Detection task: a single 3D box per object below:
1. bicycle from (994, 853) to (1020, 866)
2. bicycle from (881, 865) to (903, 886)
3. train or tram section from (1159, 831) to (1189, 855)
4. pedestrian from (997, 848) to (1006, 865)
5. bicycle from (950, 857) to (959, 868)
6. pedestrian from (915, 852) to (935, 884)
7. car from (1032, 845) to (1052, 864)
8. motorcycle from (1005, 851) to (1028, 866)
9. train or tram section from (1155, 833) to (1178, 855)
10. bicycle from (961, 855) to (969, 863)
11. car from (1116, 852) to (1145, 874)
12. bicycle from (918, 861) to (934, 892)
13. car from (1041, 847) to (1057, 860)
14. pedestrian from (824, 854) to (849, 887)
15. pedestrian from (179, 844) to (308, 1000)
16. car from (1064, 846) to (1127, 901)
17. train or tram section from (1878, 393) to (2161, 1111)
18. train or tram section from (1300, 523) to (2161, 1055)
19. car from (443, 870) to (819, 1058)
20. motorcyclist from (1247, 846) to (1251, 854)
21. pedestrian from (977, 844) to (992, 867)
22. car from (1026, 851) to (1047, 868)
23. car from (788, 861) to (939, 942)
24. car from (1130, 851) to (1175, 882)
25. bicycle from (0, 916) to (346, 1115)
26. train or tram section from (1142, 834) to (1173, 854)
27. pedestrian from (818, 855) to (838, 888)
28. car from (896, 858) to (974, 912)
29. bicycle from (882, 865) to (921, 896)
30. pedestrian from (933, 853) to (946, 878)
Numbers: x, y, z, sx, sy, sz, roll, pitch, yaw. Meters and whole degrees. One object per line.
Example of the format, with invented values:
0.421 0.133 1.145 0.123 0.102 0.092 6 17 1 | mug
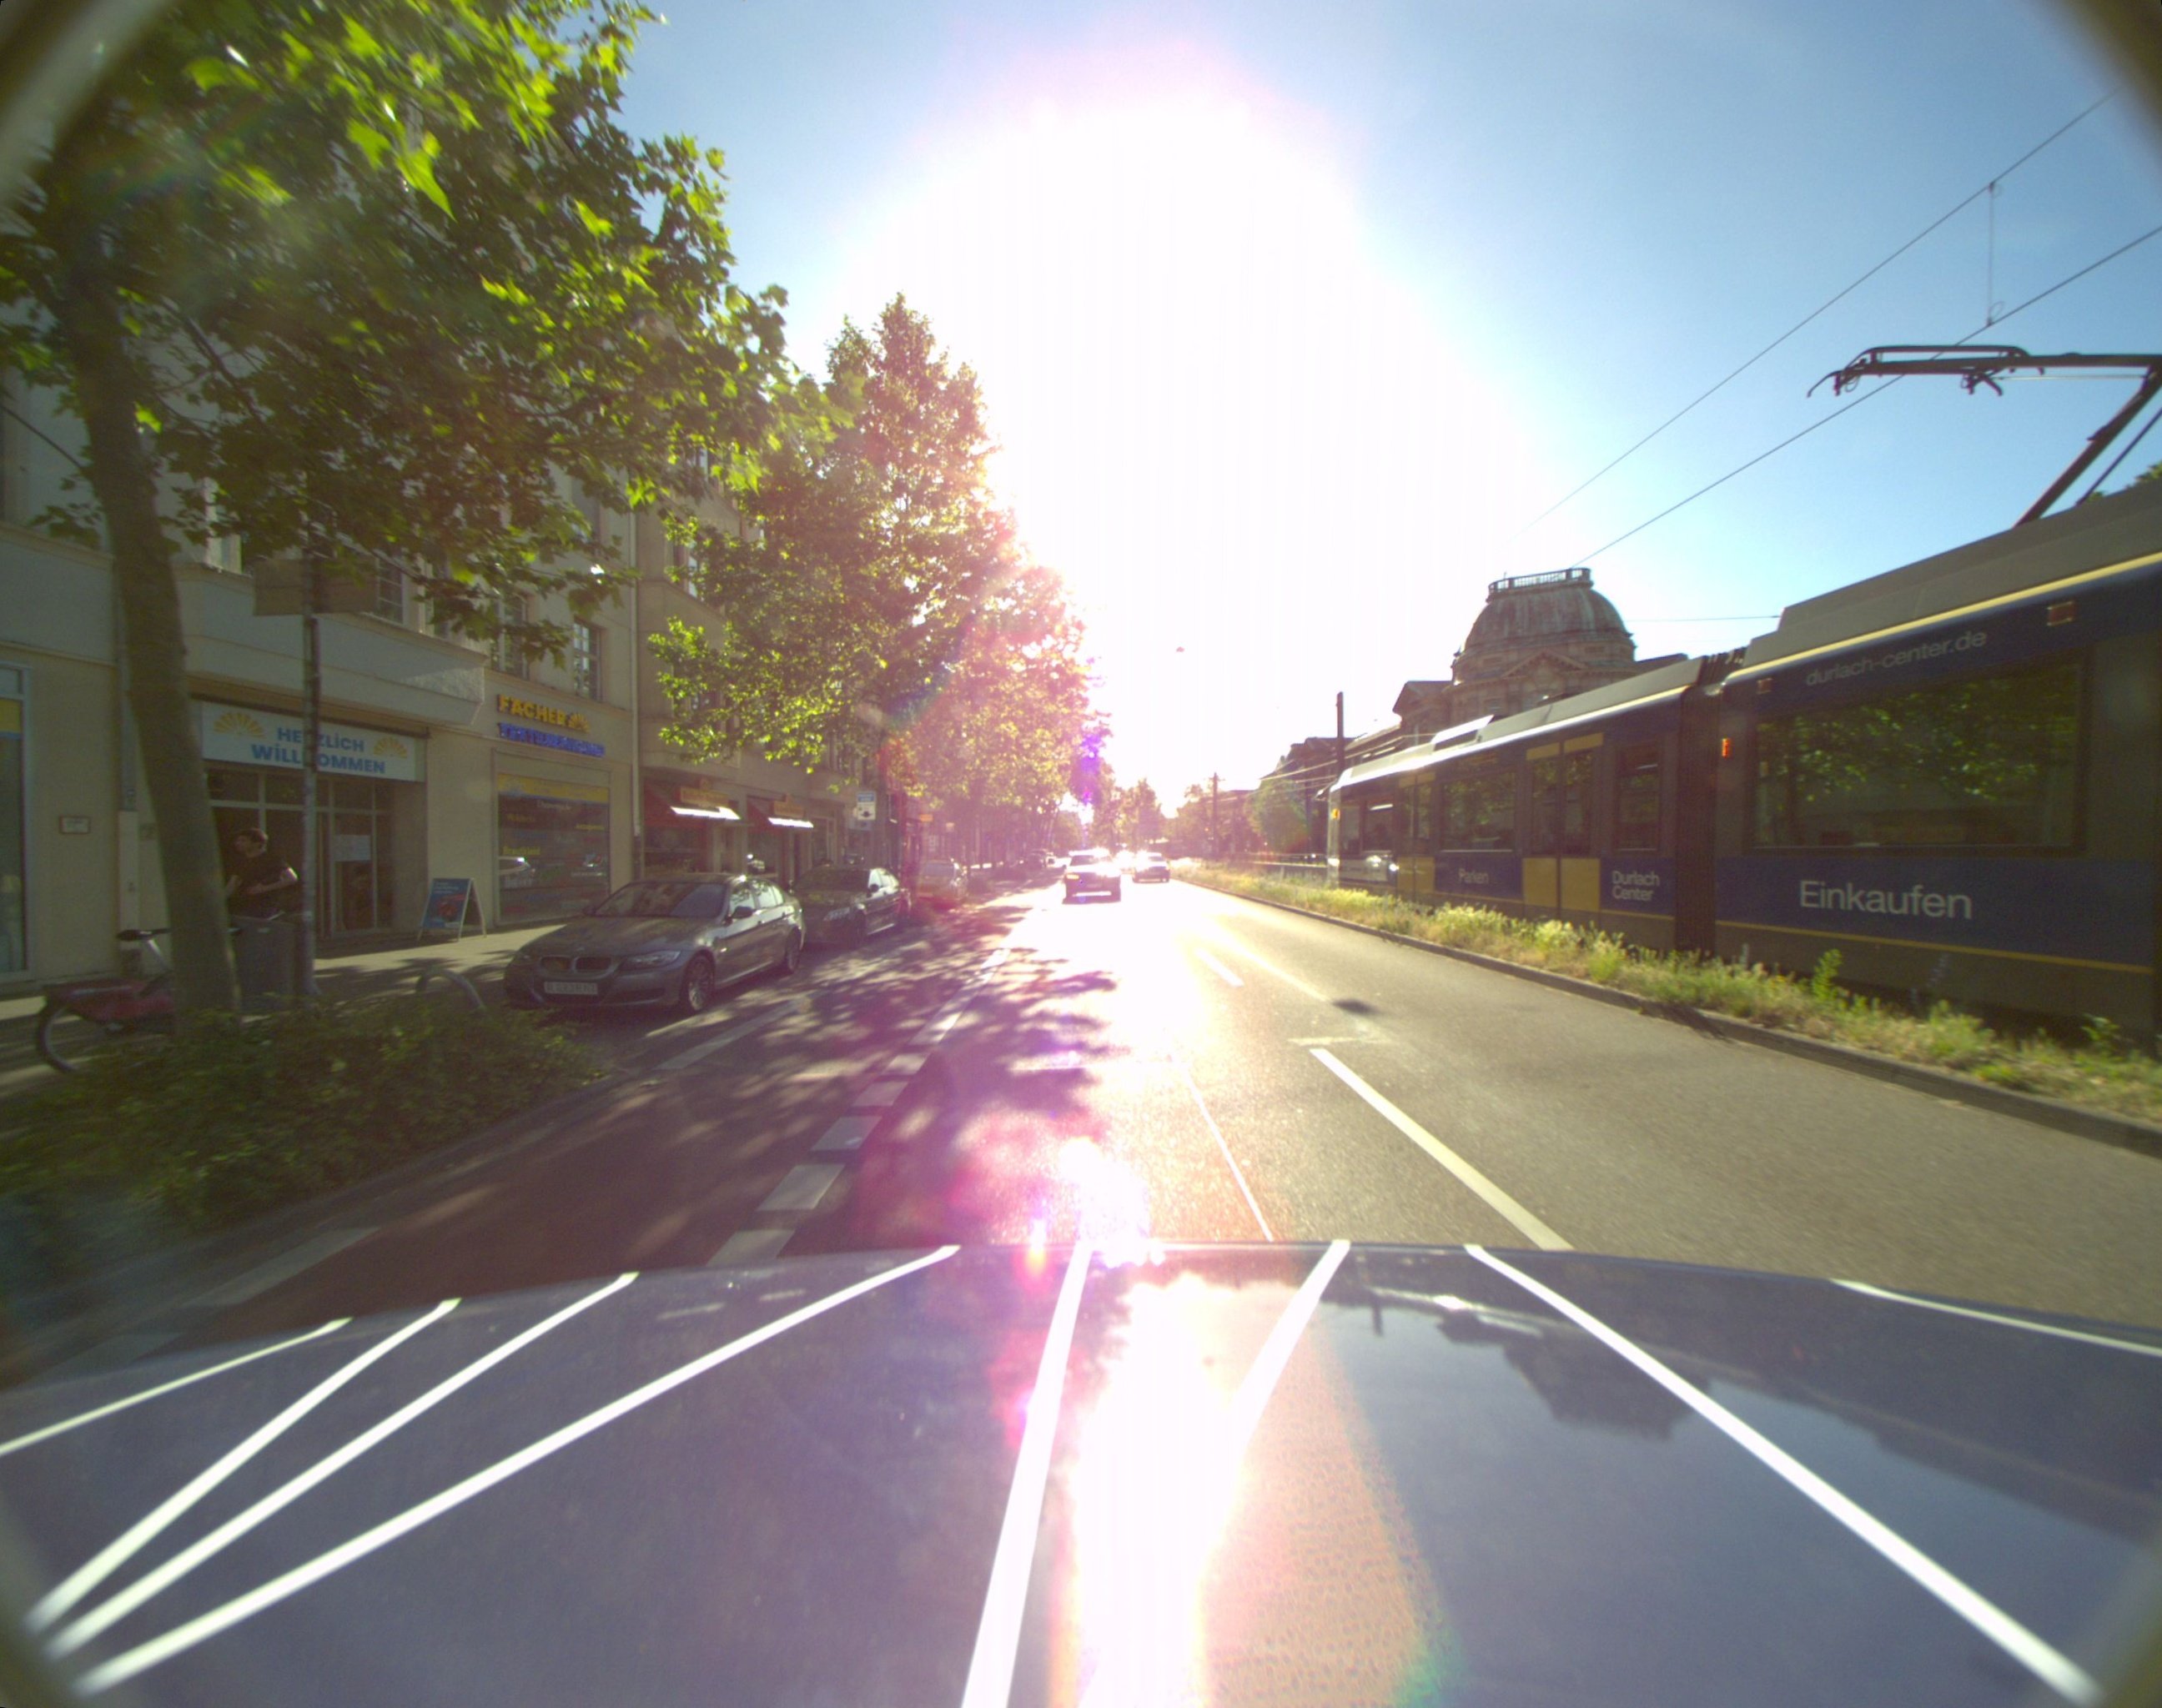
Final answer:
-6.489 0.481 66.517 2.228 1.087 0.455 -2 1 2 | bicycle
-10.201 1.129 41.101 0.491 1.018 2.622 -1 1 0 | bicycle
14.482 -1.644 119.067 2.969 3.463 11.284 -2 0 -1 | train or tram section
-8.485 0.258 81.143 0.644 1.817 0.896 -2 1 10 | pedestrian
-11.221 0.740 67.462 0.415 0.992 1.882 -1 1 0 | bicycle
-8.227 0.730 40.153 0.861 1.695 0.916 -1 1 -2 | pedestrian
-4.226 0.045 83.586 1.861 2.002 4.723 -2 1 0 | car
-5.558 0.405 65.608 1.954 1.224 0.515 -2 1 -3 | motorcycle
14.304 -1.702 127.755 2.964 3.463 6.058 -2 1 -1 | train or tram section
-11.441 0.483 74.896 0.550 0.769 1.662 1 1 0 | bicycle
3.507 0.597 54.078 1.798 1.420 3.999 -2 1 1 | car
-6.630 0.934 32.603 0.393 1.208 1.902 0 2 -3 | bicycle
-4.126 -0.114 99.217 1.672 1.561 4.279 -2 1 2 | car
-10.455 0.692 32.482 0.787 1.361 0.856 0 1 1 | pedestrian
-9.562 0.741 8.705 0.559 1.701 0.770 -1 1 0 | pedestrian
0.437 0.574 26.077 1.949 1.690 5.305 -1 1 0 | car
7.333 -0.579 3.624 2.962 3.875 3.865 -2 1 0 | train or tram section
7.278 -0.575 12.670 2.936 3.790 14.270 -2 1 0 | train or tram section
-4.831 1.039 9.084 1.794 1.546 4.435 -1 1 0 | car
25.482 -0.643 115.271 0.515 1.250 0.691 -2 1 4 | motorcyclist
-8.943 0.128 70.460 1.090 2.002 1.046 -2 1 1 | pedestrian
-4.472 0.530 76.298 1.823 1.506 4.706 -2 1 -1 | car
-4.675 0.950 17.159 2.043 1.500 4.593 -1 0 0 | car
3.614 0.611 39.031 1.778 1.440 3.868 -2 0 -1 | car
-6.726 1.118 5.767 0.488 1.129 1.691 -1 1 6 | bicycle
14.027 -1.767 141.352 2.971 3.463 21.212 -2 0 -1 | train or tram section
-10.519 0.722 31.600 0.536 1.325 0.820 0 1 1 | pedestrian
-4.575 0.930 24.267 1.699 1.494 3.801 2 0 0 | car
-7.446 1.082 31.570 0.386 1.200 1.877 0 1 29 | bicycle
-9.638 0.772 51.728 0.683 1.612 0.562 -2 1 -2 | pedestrian
